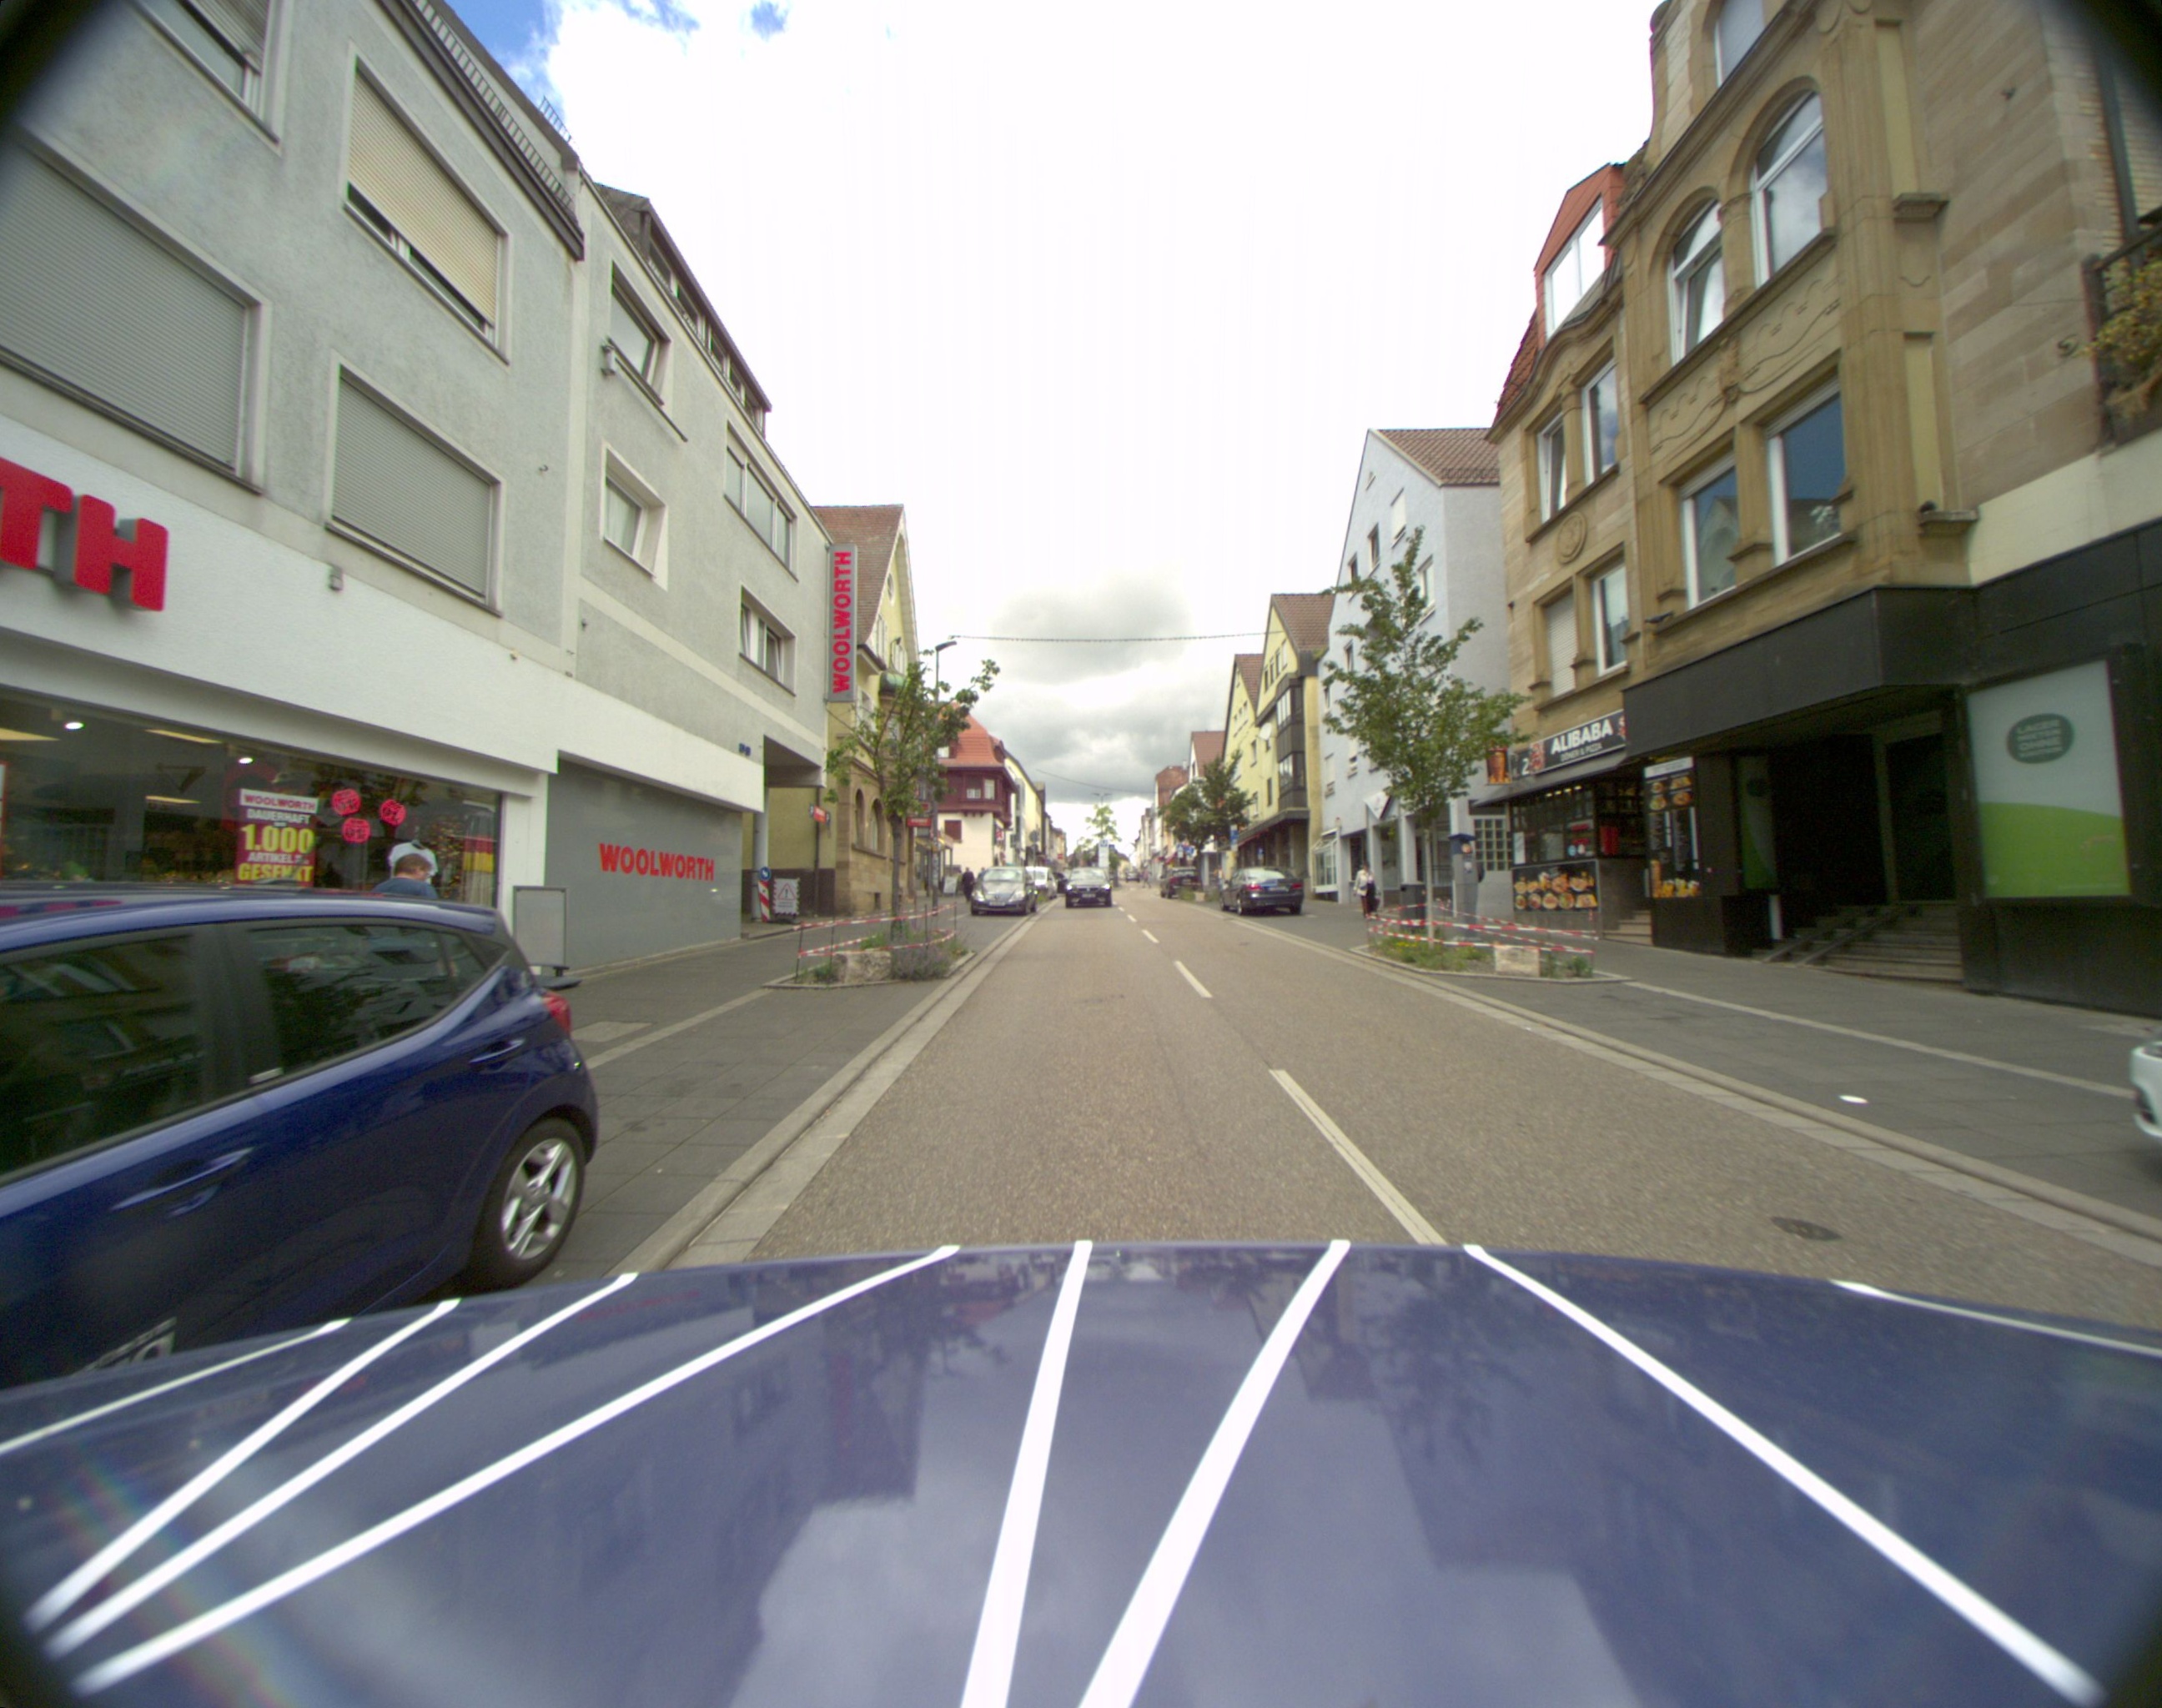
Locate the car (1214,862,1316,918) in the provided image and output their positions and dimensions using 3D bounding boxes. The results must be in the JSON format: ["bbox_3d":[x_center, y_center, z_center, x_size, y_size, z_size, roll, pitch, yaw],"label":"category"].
[{"bbox_3d":[5.688,1.078,24.104,1.931,1.483,4.843,-3,-1,-1],"label":"car"}]

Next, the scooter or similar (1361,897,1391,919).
[{"bbox_3d":[7.611,1.393,19.639,0.526,0.516,0.573,-3,-1,0],"label":"scooter or similar"}]

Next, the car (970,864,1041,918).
[{"bbox_3d":[-2.400,1.168,25.003,1.752,1.598,3.802,1,-1,3],"label":"car"}]

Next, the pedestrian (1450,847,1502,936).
[{"bbox_3d":[7.855,0.736,15.136,0.588,1.703,0.710,-3,0,0],"label":"pedestrian"}]

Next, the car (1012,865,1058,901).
[{"bbox_3d":[-2.397,1.513,40.842,1.881,1.788,4.734,-1,-1,4],"label":"car"}]

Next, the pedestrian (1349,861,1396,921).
[{"bbox_3d":[7.403,0.917,19.326,0.828,1.454,0.810,-3,0,0],"label":"pedestrian"}]

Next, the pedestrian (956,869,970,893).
[{"bbox_3d":[-8.423,1.922,54.397,0.774,1.635,0.870,0,-1,6],"label":"pedestrian"}]

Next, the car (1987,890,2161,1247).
[{"bbox_3d":[5.666,0.883,1.769,1.931,1.502,4.262,-3,-1,-1],"label":"car"}]

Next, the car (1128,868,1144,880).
[{"bbox_3d":[7.469,2.710,103.788,1.968,1.611,4.357,2,-1,3],"label":"car"}]

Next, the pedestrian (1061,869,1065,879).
[{"bbox_3d":[-3.022,3.319,125.804,0.663,1.696,0.780,0,-1,-1],"label":"pedestrian"}]

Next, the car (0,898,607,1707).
[{"bbox_3d":[-2.805,0.963,1.338,1.753,1.489,3.798,2,0,-4],"label":"car"}]

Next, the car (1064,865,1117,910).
[{"bbox_3d":[0.318,1.305,31.024,1.914,1.559,4.372,-4,-1,-1],"label":"car"}]

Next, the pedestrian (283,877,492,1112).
[{"bbox_3d":[-4.944,0.945,5.483,0.758,1.551,0.817,0,-1,-2],"label":"pedestrian"}]

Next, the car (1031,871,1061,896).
[{"bbox_3d":[-2.079,1.759,45.725,1.707,1.458,4.000,0,-1,-2],"label":"car"}]

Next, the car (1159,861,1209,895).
[{"bbox_3d":[5.551,1.337,41.457,2.012,1.683,4.608,-2,-2,0],"label":"car"}]

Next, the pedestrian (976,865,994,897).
[{"bbox_3d":[-5.269,1.478,41.779,0.798,1.716,1.053,0,-1,1],"label":"pedestrian"}]

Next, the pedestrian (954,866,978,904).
[{"bbox_3d":[-5.063,1.348,33.473,0.825,1.656,0.802,-1,-1,6],"label":"pedestrian"}]

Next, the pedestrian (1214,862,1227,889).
[{"bbox_3d":[9.038,1.381,49.343,0.638,1.728,0.836,1,-1,-2],"label":"pedestrian"}]
